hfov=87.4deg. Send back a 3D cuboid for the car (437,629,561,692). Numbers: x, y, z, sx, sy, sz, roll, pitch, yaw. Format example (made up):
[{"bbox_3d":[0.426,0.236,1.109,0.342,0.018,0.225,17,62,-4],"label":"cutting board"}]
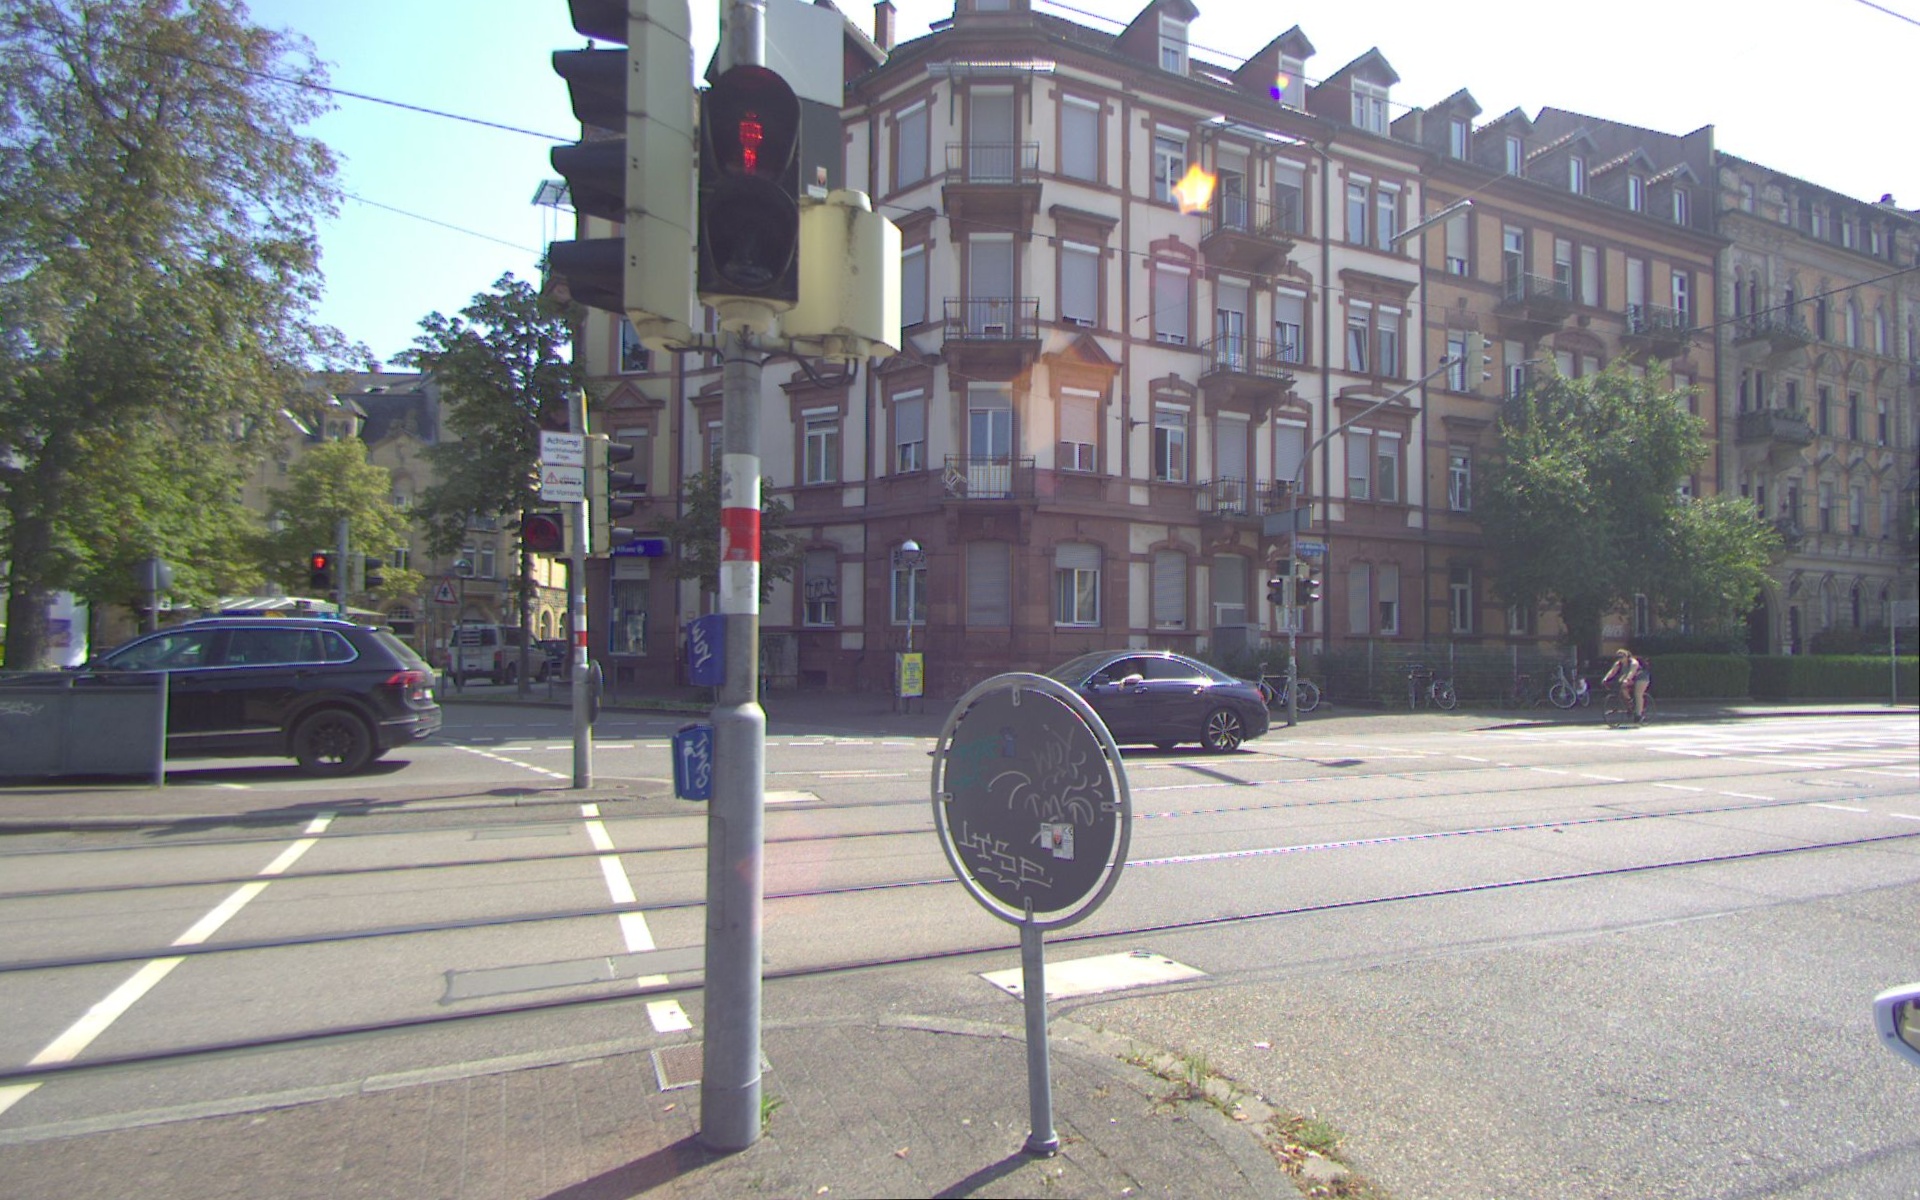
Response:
[{"bbox_3d":[-16.107,2.113,35.457,2.124,2.040,5.028,0,-3,-2],"label":"car"}]

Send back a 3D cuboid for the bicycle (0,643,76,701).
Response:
[{"bbox_3d":[-24.733,1.819,25.294,1.200,1.455,3.481,-1,-3,28],"label":"bicycle"}]

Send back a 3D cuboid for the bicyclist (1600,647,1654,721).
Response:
[{"bbox_3d":[13.842,1.731,20.848,0.765,1.489,0.579,1,-3,-24],"label":"bicyclist"}]

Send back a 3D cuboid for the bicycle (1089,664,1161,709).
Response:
[{"bbox_3d":[3.851,1.997,23.428,1.645,1.010,0.395,0,-2,14],"label":"bicycle"}]

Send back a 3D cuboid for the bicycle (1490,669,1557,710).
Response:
[{"bbox_3d":[13.694,2.165,24.417,1.632,0.954,0.486,1,-3,-21],"label":"bicycle"}]

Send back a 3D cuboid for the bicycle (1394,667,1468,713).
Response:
[{"bbox_3d":[11.008,2.082,23.471,1.751,1.035,0.486,1,-3,-21],"label":"bicycle"}]

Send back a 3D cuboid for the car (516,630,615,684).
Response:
[{"bbox_3d":[-15.868,2.297,40.743,2.124,2.040,5.028,0,-3,-2],"label":"car"}]

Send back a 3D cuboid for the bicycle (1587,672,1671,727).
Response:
[{"bbox_3d":[13.903,2.052,20.869,1.818,1.080,0.579,1,-3,-25],"label":"bicycle"}]

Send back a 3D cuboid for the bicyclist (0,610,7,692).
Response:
[{"bbox_3d":[-24.881,1.251,25.055,1.187,2.040,1.210,0,-3,28],"label":"bicyclist"}]

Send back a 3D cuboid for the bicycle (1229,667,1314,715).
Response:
[{"bbox_3d":[7.004,2.038,22.624,1.793,1.010,0.489,0,-2,14],"label":"bicycle"}]

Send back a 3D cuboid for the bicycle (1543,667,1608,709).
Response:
[{"bbox_3d":[15.298,2.171,24.972,1.632,0.999,0.486,1,-3,-21],"label":"bicycle"}]

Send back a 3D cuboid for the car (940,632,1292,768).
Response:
[{"bbox_3d":[2.192,1.348,14.214,4.564,1.669,1.990,1,-4,-23],"label":"car"}]

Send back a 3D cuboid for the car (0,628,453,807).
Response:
[{"bbox_3d":[-8.145,1.192,10.810,4.562,1.669,1.991,1,-4,-21],"label":"car"}]
